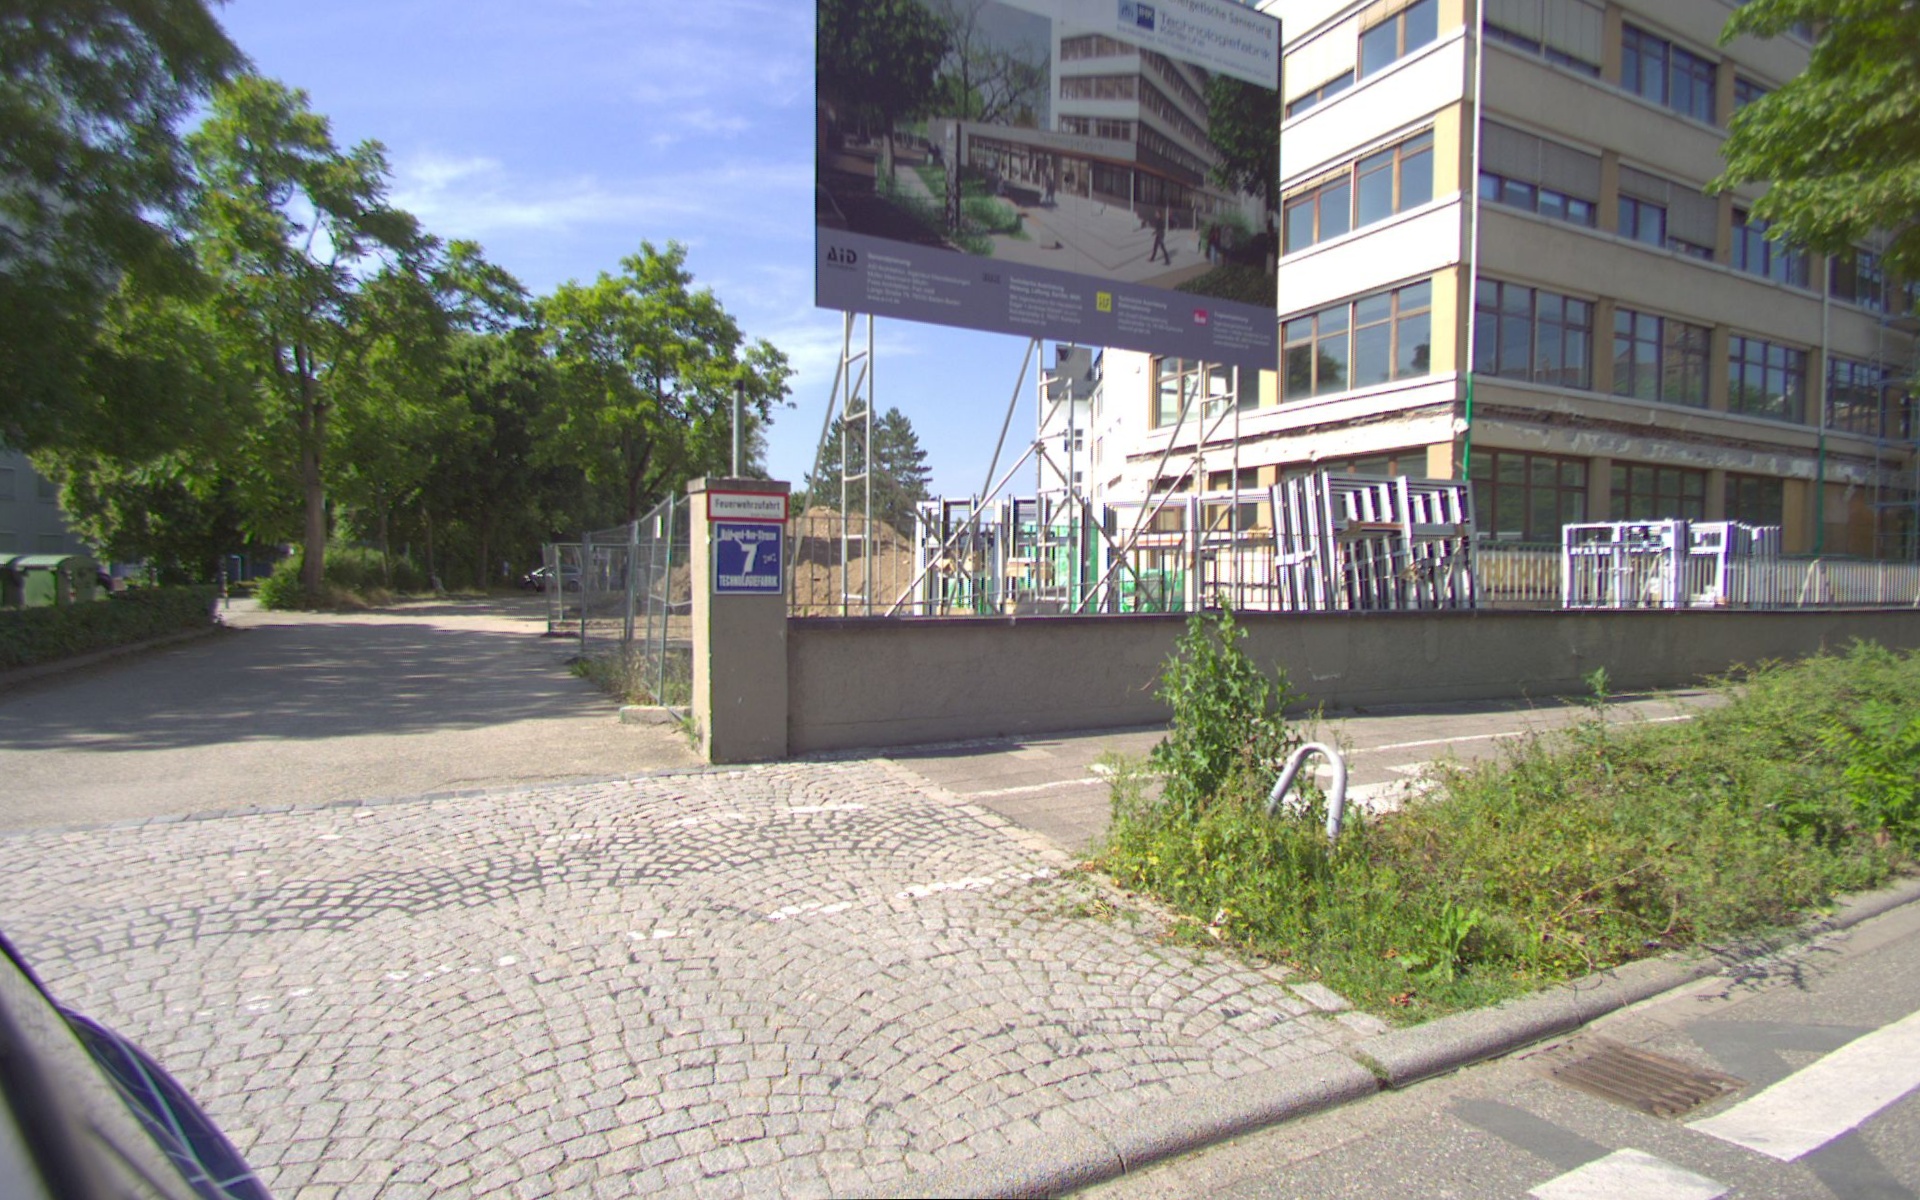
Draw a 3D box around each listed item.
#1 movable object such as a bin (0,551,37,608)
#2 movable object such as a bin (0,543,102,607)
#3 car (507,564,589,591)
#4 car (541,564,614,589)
[{"bbox_3d":[-22.855,-0.488,23.718,1.335,1.310,1.217,0,2,-5],"label":"movable object such as a bin"},{"bbox_3d":[-21.406,-0.599,23.839,1.377,1.473,1.212,1,2,10],"label":"movable object such as a bin"},{"bbox_3d":[-23.440,-1.297,57.652,3.937,1.519,2.003,0,2,-7],"label":"car"},{"bbox_3d":[-23.774,-1.468,63.030,3.937,1.453,2.003,0,2,-7],"label":"car"}]
